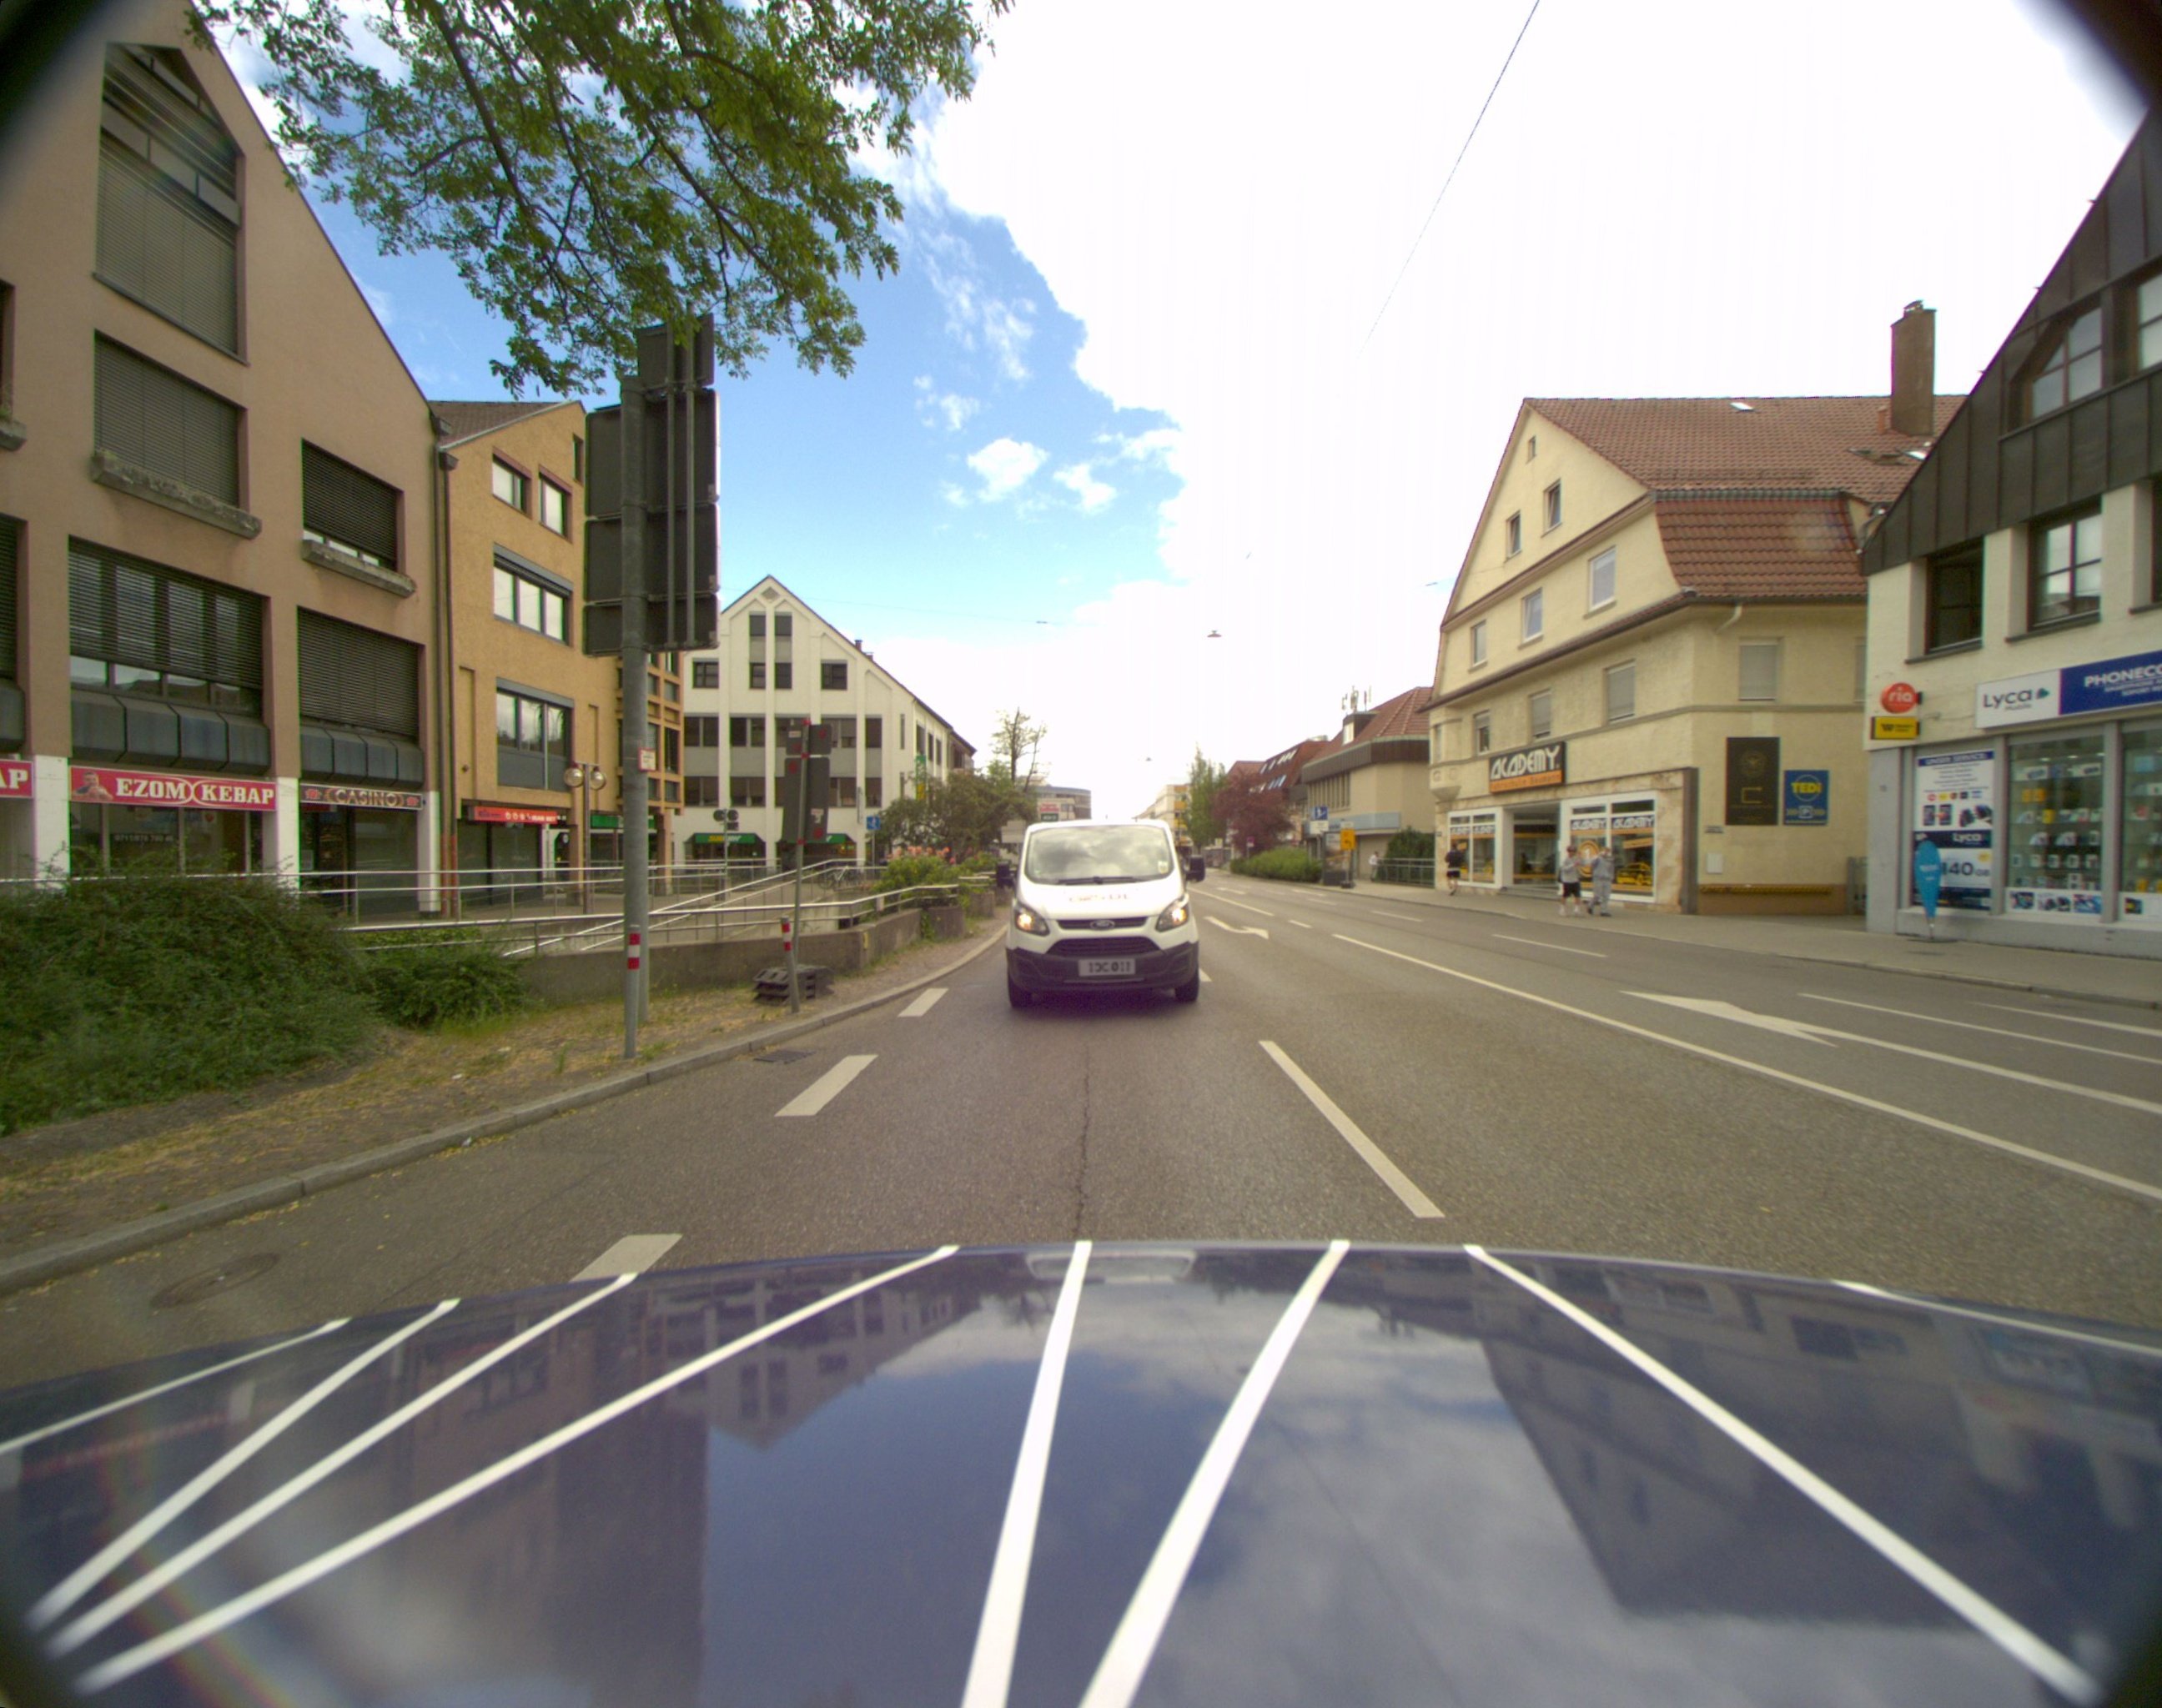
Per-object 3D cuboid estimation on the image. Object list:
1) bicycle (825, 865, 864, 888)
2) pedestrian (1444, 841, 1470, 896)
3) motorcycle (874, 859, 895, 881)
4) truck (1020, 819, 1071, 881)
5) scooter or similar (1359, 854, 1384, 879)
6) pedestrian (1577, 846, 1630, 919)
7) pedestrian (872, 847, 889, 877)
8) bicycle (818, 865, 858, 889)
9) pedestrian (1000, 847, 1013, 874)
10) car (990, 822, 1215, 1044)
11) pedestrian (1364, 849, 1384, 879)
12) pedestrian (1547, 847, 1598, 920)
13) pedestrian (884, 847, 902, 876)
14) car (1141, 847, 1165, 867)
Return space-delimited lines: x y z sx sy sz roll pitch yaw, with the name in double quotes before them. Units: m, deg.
"bicycle" -10.282 0.982 33.121 1.594 0.963 0.461 0 1 -14
"pedestrian" 13.101 0.507 26.491 0.551 1.878 0.592 -2 1 -3
"motorcycle" -9.719 0.776 37.601 0.464 1.062 1.995 0 0 1
"truck" -2.062 -0.264 47.560 2.446 3.464 8.347 -2 1 1
"scooter or similar" 15.935 0.669 41.633 1.193 1.385 0.538 0 1 -14
"pedestrian" 12.330 0.653 17.953 0.689 1.660 0.709 -3 1 1
"pedestrian" -11.865 0.456 45.004 0.887 1.747 0.943 0 1 -11
"bicycle" -10.330 0.957 32.323 1.594 0.996 0.414 0 1 -13
"pedestrian" -4.298 0.370 43.988 0.653 1.568 0.684 -1 1 1
"car" 0.218 0.691 9.303 1.964 1.948 5.164 -1 0 1
"pedestrian" 17.248 0.569 44.745 0.835 1.748 0.838 0 1 1
"pedestrian" 11.581 0.689 17.929 0.689 1.680 0.742 -2 1 1
"pedestrian" -11.798 0.468 47.660 0.871 1.812 0.785 -2 1 -3
"car" 7.104 0.303 75.216 1.957 1.898 4.321 0 0 0
